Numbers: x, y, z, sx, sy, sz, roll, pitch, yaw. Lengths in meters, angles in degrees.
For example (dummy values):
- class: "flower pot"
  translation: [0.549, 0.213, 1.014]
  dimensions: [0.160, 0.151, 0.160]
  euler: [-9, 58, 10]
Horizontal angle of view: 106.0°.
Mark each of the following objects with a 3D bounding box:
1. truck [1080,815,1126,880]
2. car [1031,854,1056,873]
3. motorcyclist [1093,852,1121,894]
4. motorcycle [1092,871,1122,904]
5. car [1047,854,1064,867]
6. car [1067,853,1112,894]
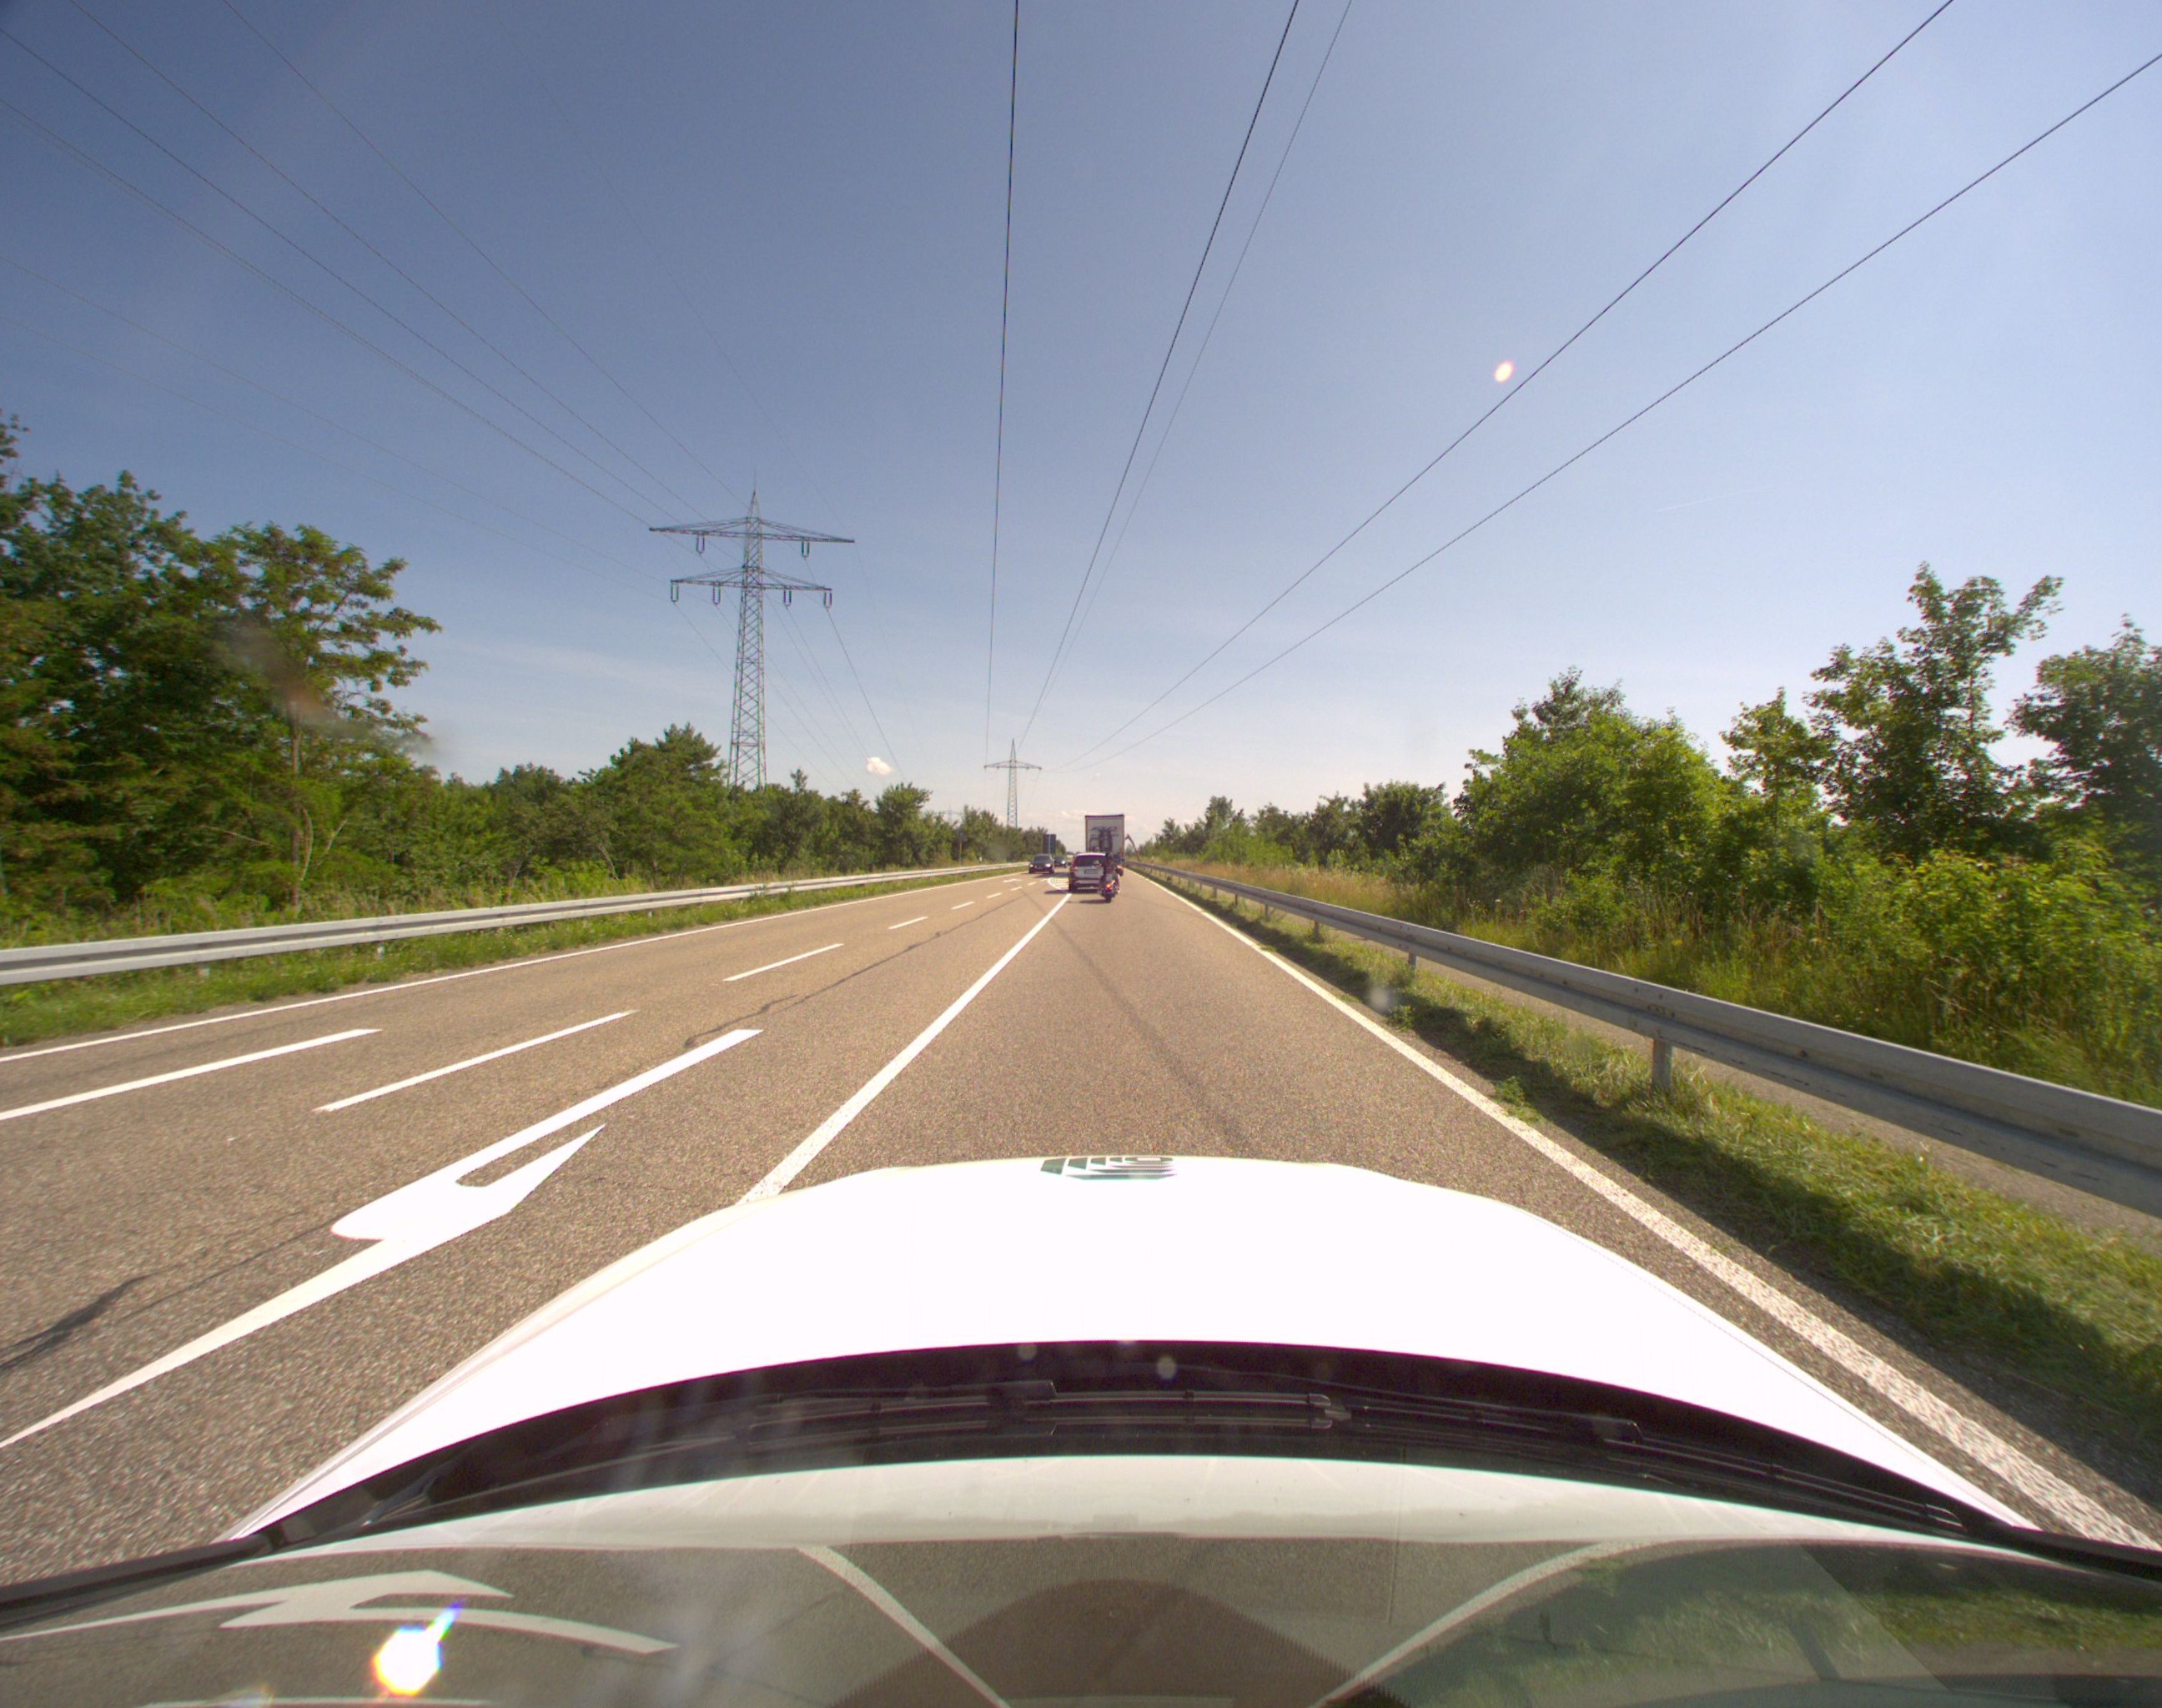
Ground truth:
- class: "truck"
  translation: [1.805, -0.432, 60.084]
  dimensions: [2.956, 4.187, 14.831]
  euler: [0, 0, 3]
- class: "car"
  translation: [-2.952, 0.729, 65.027]
  dimensions: [1.721, 1.491, 4.424]
  euler: [0, 0, 1]
- class: "motorcyclist"
  translation: [0.808, 0.581, 25.406]
  dimensions: [0.834, 1.280, 0.919]
  euler: [0, 0, -1]
- class: "motorcycle"
  translation: [0.791, 1.018, 25.331]
  dimensions: [0.856, 0.915, 2.227]
  euler: [0, 0, 0]
- class: "car"
  translation: [-2.836, 0.698, 90.746]
  dimensions: [1.653, 1.442, 4.217]
  euler: [0, 0, 2]
- class: "car"
  translation: [0.368, 0.735, 32.401]
  dimensions: [1.694, 1.536, 3.500]
  euler: [0, 0, 2]
